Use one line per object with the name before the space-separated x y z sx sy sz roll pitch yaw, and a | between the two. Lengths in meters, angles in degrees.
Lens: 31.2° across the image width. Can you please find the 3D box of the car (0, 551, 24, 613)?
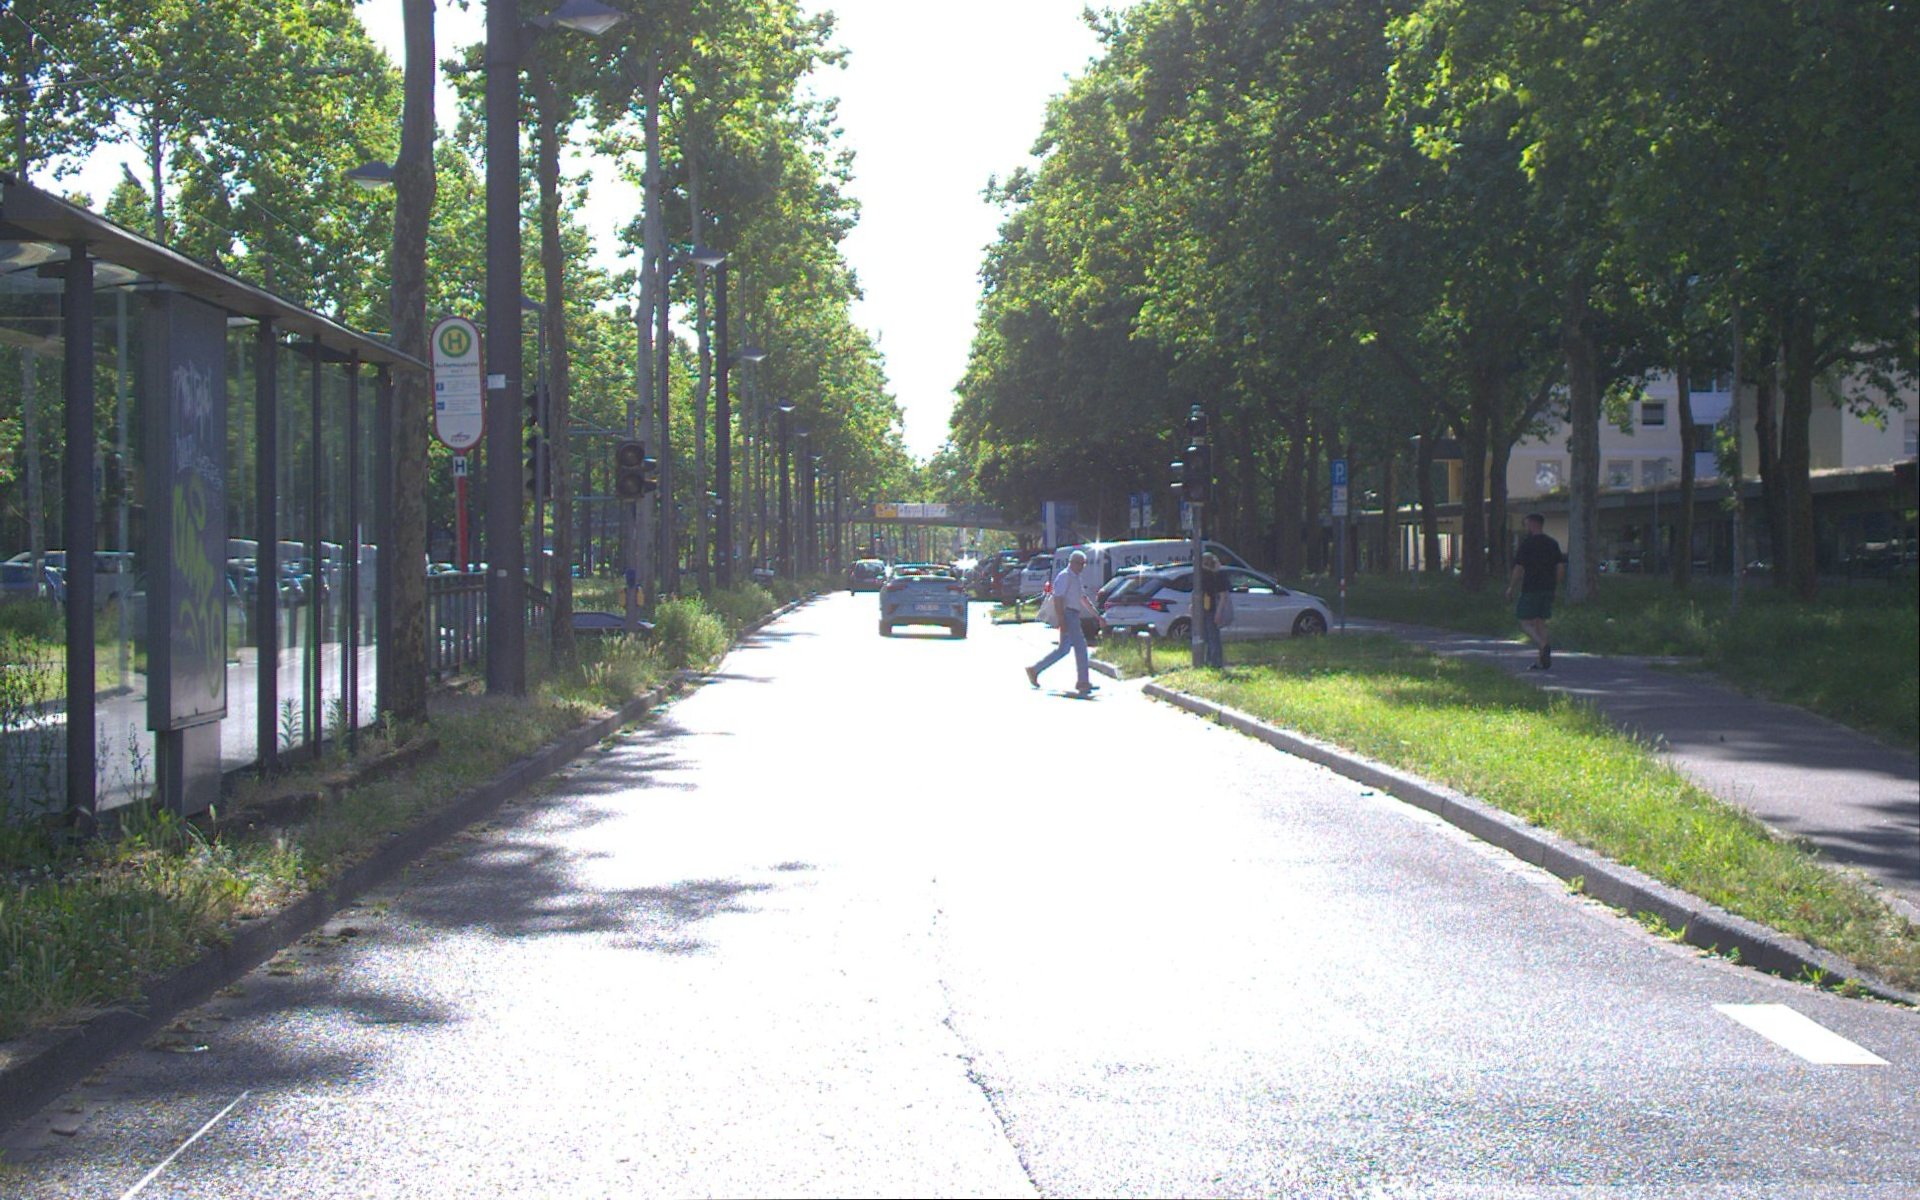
car | -27.181 -0.454 91.427 4.074 1.640 1.650 -1 -1 -43

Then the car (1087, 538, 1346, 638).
car | 4.289 -0.215 57.231 3.986 1.464 1.761 -3 2 -32

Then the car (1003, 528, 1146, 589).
car | 3.352 -1.206 100.130 4.017 1.699 1.760 -2 1 -42

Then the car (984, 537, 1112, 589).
car | 2.662 -1.114 103.401 3.777 1.465 1.650 -2 1 -44

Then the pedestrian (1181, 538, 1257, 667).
pedestrian | 3.461 0.034 45.929 0.710 1.700 0.654 -2 0 -35

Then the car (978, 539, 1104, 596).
car | 2.697 -1.096 113.775 4.073 1.804 1.650 -2 1 -41

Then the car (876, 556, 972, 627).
car | -0.782 -0.198 71.901 1.922 1.406 4.000 1 1 -2

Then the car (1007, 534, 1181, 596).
car | 3.221 -0.843 81.921 4.174 1.407 1.719 -2 1 -44

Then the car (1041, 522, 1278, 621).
car | 3.938 -0.574 67.410 4.657 1.846 1.830 -2 1 -41

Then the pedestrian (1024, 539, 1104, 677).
pedestrian | 1.302 0.094 43.064 0.842 1.716 0.829 0 1 14

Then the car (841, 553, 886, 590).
car | -4.095 -1.223 145.756 1.849 1.530 3.866 0 1 -1

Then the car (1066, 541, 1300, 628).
car | 4.148 -0.297 63.760 3.986 1.425 1.799 -3 2 -32

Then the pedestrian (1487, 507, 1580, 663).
pedestrian | 6.988 -0.189 41.876 0.799 1.878 0.926 1 1 33
